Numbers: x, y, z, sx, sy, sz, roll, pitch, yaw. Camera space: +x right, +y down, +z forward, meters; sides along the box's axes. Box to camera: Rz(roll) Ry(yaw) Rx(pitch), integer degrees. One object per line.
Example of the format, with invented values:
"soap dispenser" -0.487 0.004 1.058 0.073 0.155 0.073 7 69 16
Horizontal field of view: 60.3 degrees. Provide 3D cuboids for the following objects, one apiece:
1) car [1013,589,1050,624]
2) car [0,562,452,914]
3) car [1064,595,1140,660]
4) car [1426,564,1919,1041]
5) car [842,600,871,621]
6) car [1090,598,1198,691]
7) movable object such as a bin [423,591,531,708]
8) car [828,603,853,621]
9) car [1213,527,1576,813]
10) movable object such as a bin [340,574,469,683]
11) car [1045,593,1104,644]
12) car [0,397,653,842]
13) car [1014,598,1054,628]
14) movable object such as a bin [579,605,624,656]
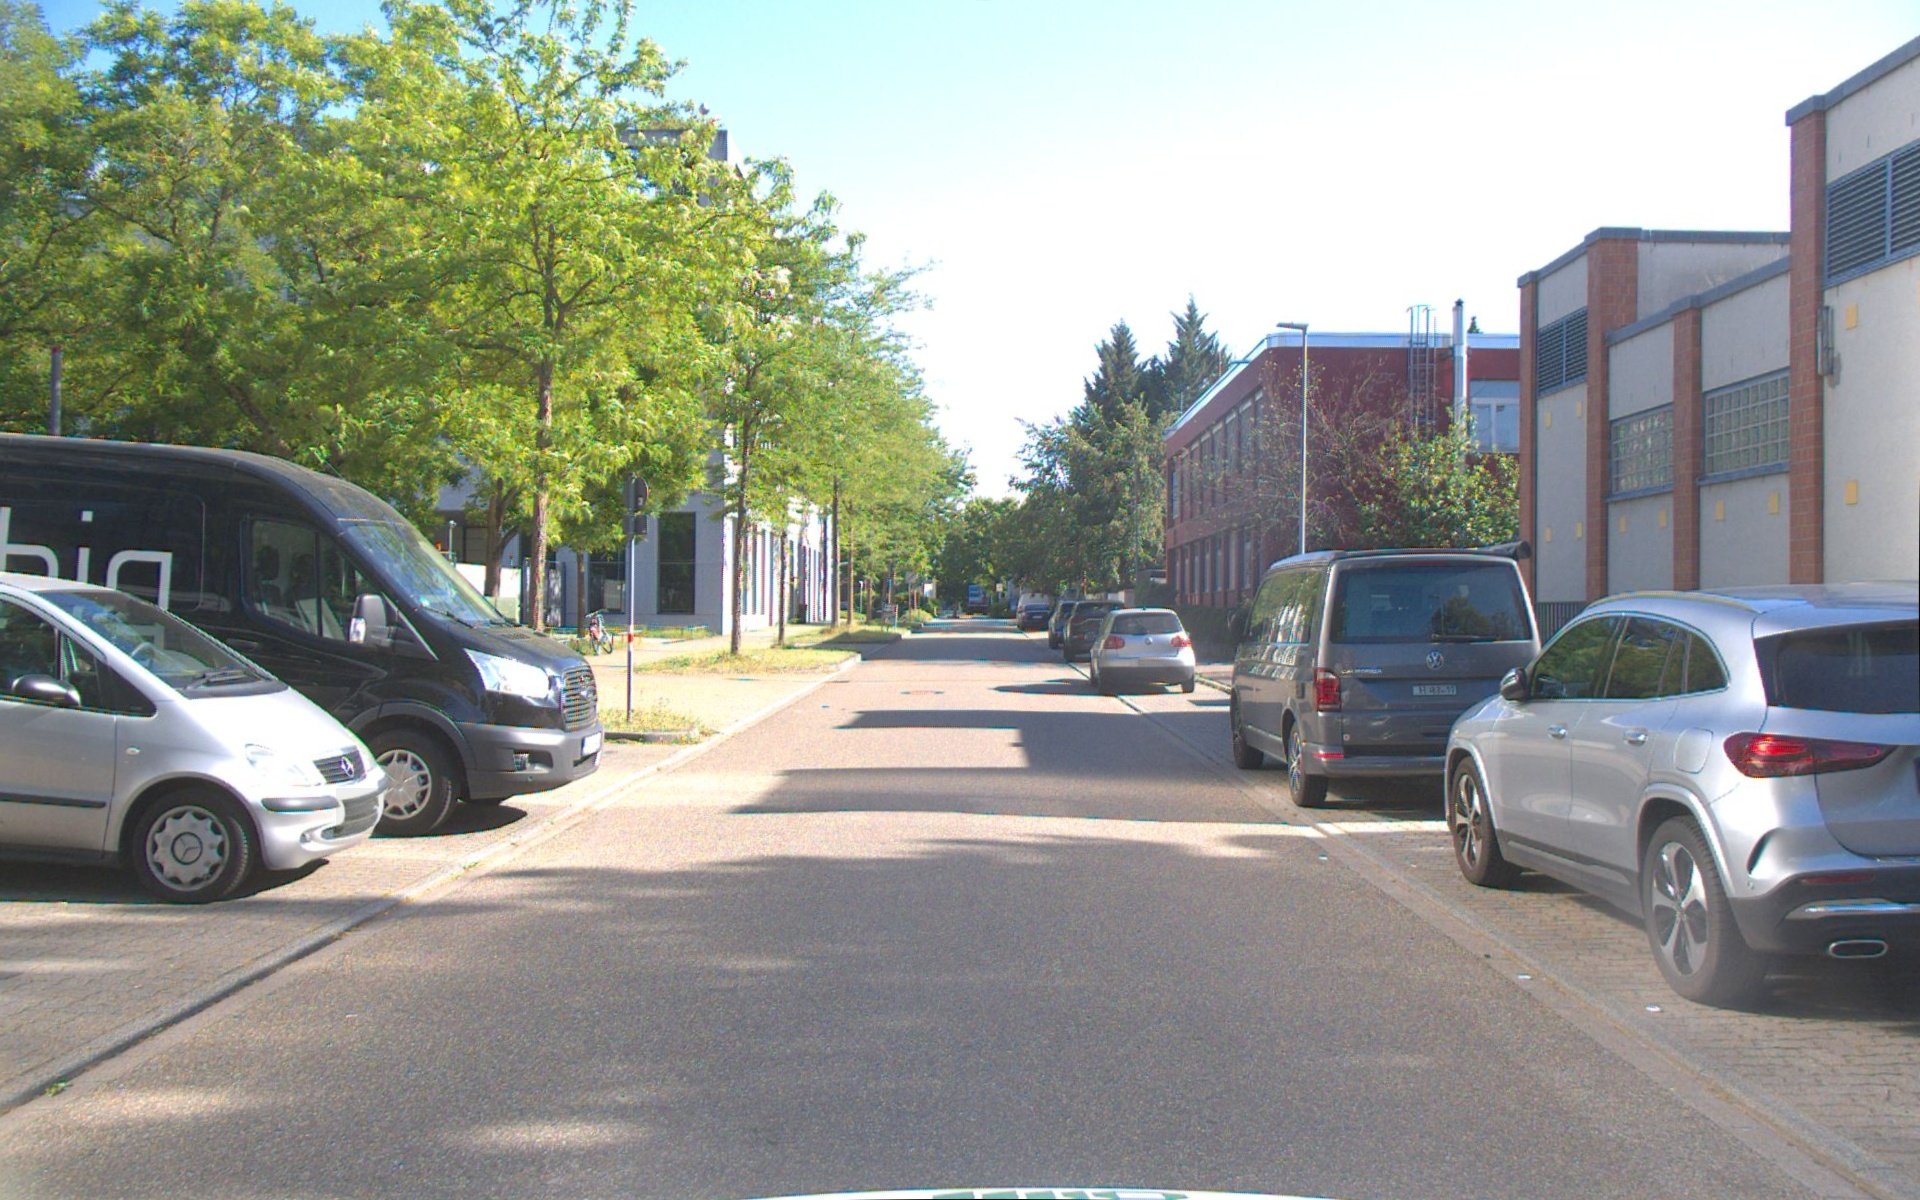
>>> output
"car" 4.075 0.345 94.652 1.952 1.866 4.000 -3 0 1
"car" -5.001 0.652 9.114 3.754 1.674 1.891 2 -1 -1
"car" 3.802 0.714 44.932 1.800 1.662 4.202 1 0 1
"car" 3.747 0.723 7.955 1.788 1.658 4.293 -1 -1 0
"car" -7.512 0.769 120.104 1.953 1.483 3.791 1 0 -2
"car" 3.313 0.768 30.443 1.625 1.588 3.935 1 0 1
"movable object such as a bin" -6.141 0.618 21.039 1.273 1.438 1.222 1 0 -17
"car" -9.427 0.928 130.924 1.867 1.365 3.791 0 0 -2
"car" 3.535 0.538 14.481 1.903 2.057 4.825 -1 -1 0
"movable object such as a bin" -9.041 0.482 27.012 1.384 1.624 1.523 4 -3 4
"car" 3.847 0.599 56.038 1.816 1.677 4.001 0 0 1
"car" -5.125 0.097 11.719 5.343 2.668 2.231 3 -1 0
"car" 3.955 0.671 88.912 1.952 1.467 4.000 -3 0 1
"movable object such as a bin" -8.760 0.735 40.445 0.649 1.202 1.935 0 0 1
